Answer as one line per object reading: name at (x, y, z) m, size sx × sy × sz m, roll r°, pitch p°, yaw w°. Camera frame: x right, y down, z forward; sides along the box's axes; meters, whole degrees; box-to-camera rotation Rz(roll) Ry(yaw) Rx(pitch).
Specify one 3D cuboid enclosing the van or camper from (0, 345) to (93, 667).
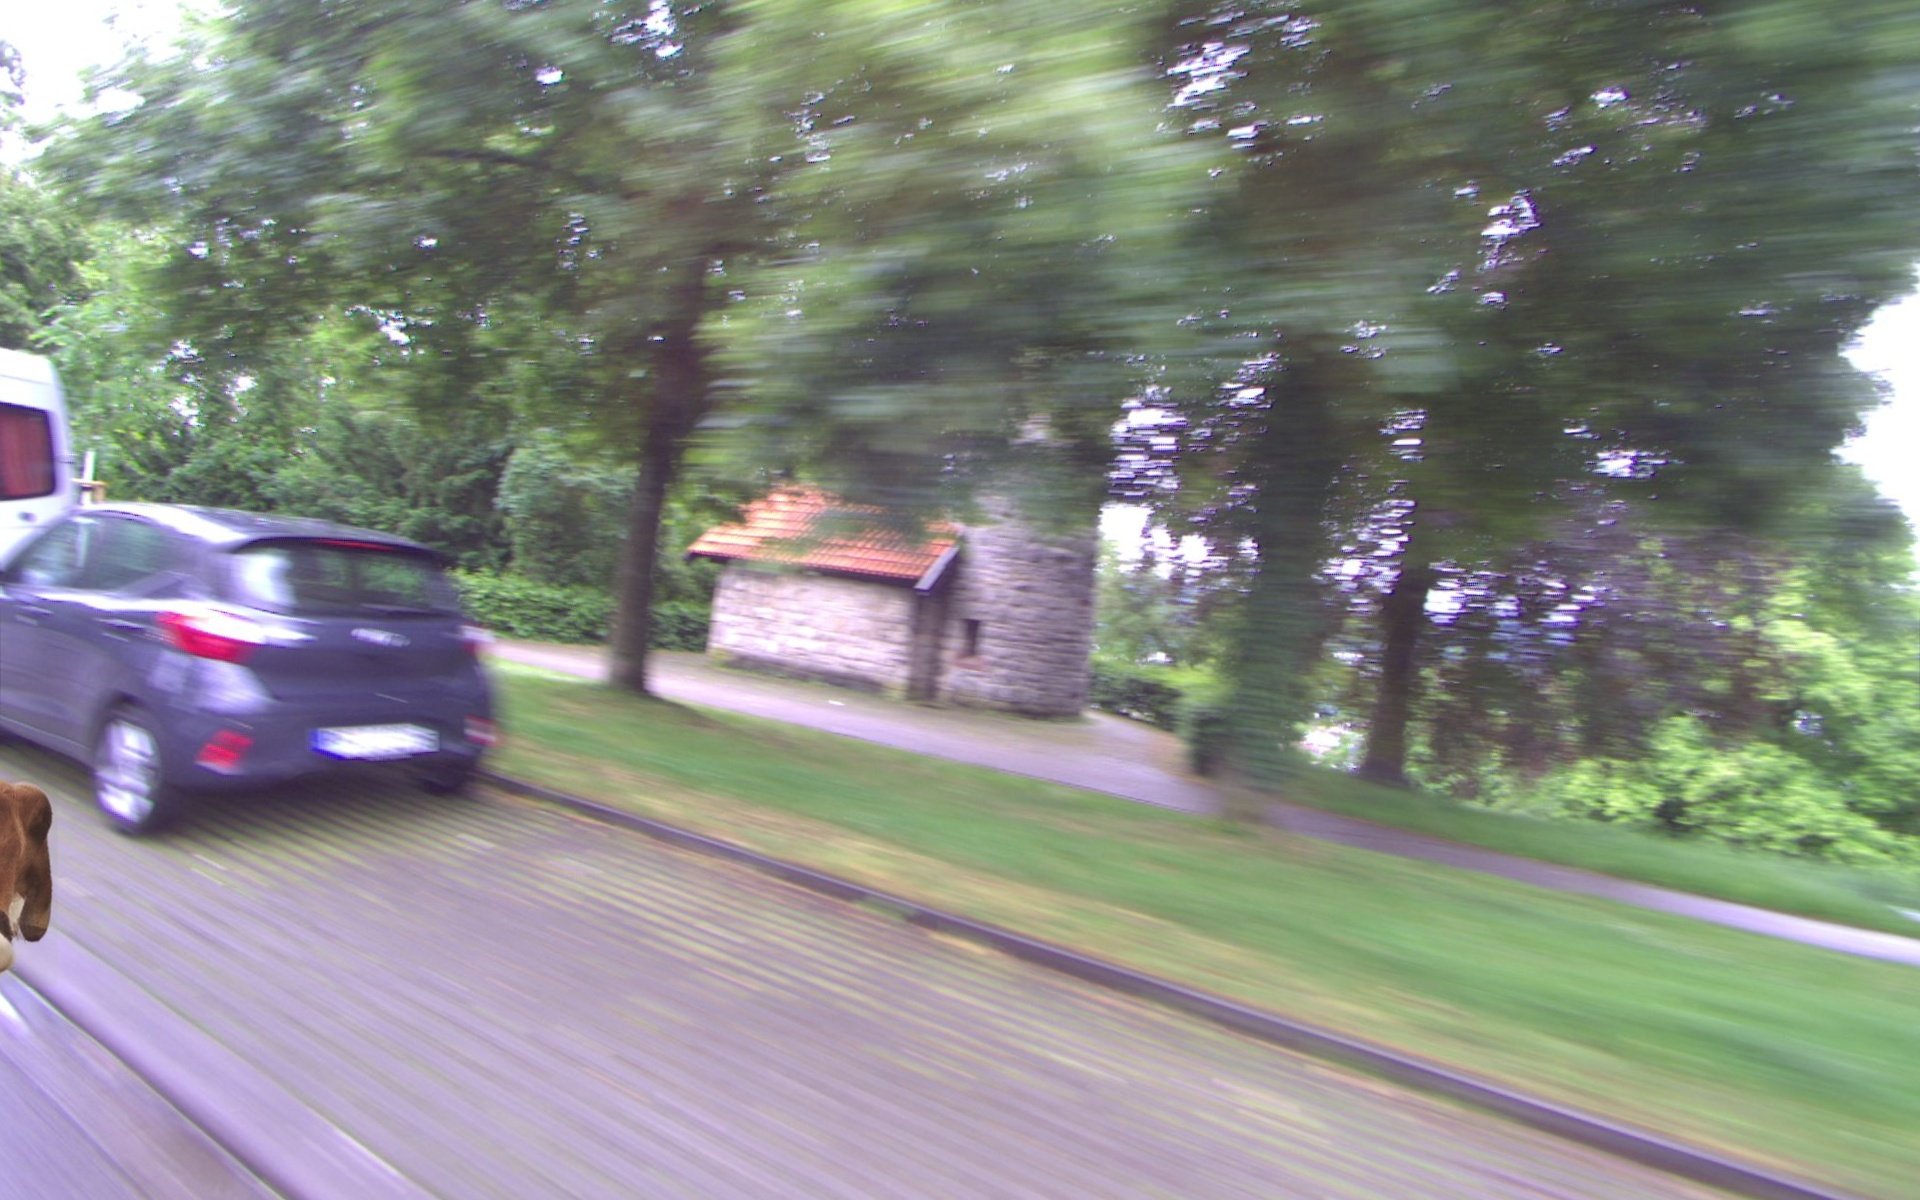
van or camper at (-11.588, -1.246, 9.930) m, size 8.293 × 2.618 × 2.016 m, roll 8°, pitch 3°, yaw 31°

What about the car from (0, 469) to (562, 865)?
car at (-4.367, 0.167, 5.835) m, size 3.661 × 1.531 × 1.867 m, roll 8°, pitch 1°, yaw 30°
